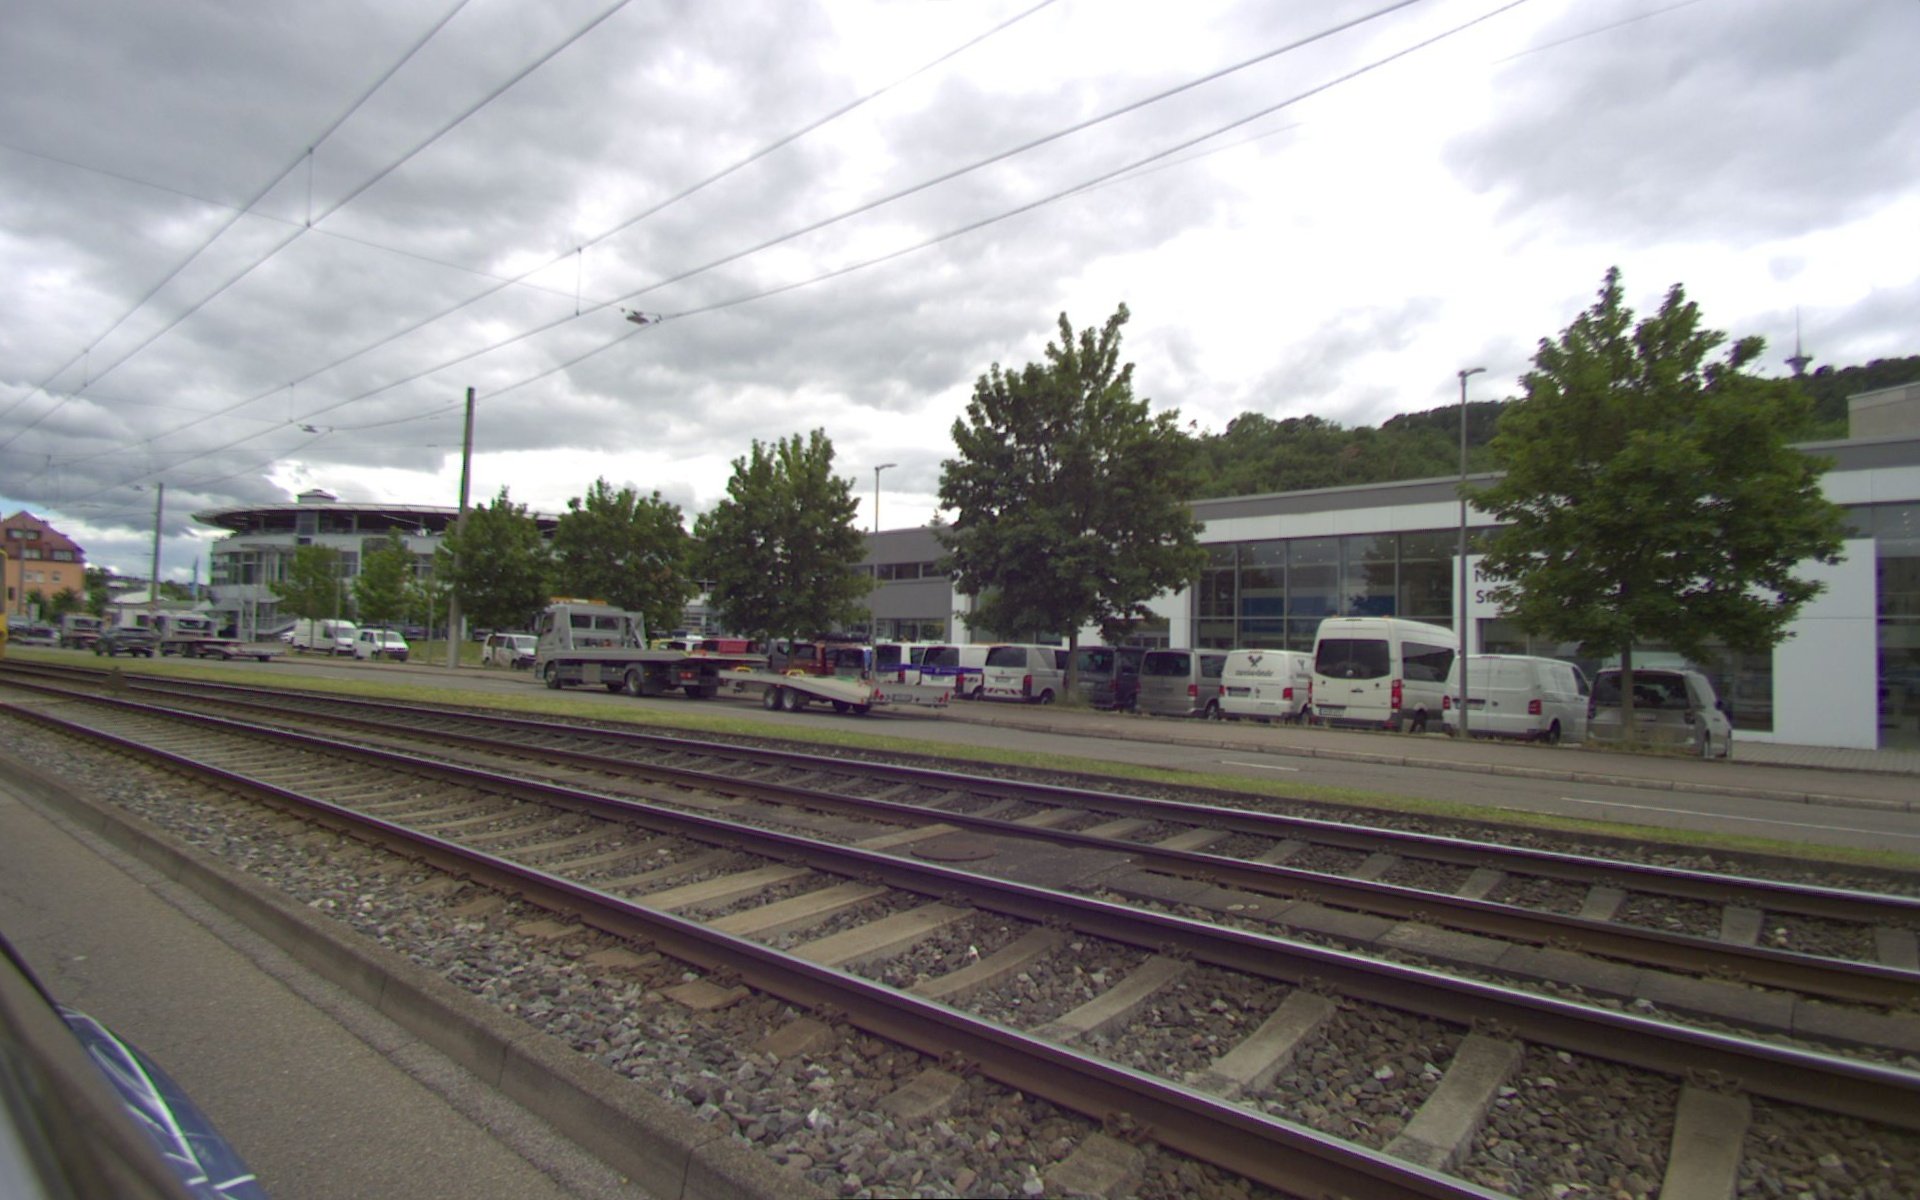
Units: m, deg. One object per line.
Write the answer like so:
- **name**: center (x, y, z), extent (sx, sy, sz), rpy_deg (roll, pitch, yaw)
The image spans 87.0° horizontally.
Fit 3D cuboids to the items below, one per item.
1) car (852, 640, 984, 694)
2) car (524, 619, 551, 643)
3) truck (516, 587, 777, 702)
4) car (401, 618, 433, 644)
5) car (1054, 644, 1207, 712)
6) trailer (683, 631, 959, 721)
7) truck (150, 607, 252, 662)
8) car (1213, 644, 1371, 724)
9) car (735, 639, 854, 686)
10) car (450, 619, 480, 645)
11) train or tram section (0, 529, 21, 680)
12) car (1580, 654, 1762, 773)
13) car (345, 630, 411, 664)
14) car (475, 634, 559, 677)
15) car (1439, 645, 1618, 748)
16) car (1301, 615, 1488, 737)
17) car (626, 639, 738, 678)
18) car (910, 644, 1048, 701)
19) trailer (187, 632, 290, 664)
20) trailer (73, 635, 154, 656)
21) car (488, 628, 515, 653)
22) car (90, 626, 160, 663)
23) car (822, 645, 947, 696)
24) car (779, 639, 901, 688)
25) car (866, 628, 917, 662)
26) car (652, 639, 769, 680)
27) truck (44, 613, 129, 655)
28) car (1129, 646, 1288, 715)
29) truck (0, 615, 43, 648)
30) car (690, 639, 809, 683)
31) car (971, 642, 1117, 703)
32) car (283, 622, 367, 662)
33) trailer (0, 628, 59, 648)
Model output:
- **car**: center (-1.327, 2.175, 33.012), extent (3.939, 1.630, 2.002), rpy_deg (3, -4, -43)
- **car**: center (-36.678, 2.708, 87.719), extent (1.965, 2.029, 4.013), rpy_deg (2, -3, -24)
- **truck**: center (-9.108, 1.265, 28.567), extent (9.219, 2.762, 2.726), rpy_deg (-2, -6, 43)
- **car**: center (-44.110, 2.570, 82.321), extent (1.965, 2.029, 4.013), rpy_deg (2, -3, -24)
- **car**: center (4.780, 2.123, 28.090), extent (4.313, 1.699, 2.006), rpy_deg (3, -4, -43)
- **trailer**: center (-3.354, 1.643, 22.965), extent (6.949, 1.711, 2.356), rpy_deg (-1, -6, 44)
- **truck**: center (-45.288, 2.087, 60.262), extent (8.447, 3.004, 2.834), rpy_deg (-2, -6, 40)
- **car**: center (8.041, 1.947, 24.269), extent (2.031, 1.701, 4.318), rpy_deg (-2, -4, 42)
- **car**: center (-6.197, 2.353, 38.215), extent (3.939, 1.677, 2.050), rpy_deg (3, -4, -43)
- **car**: center (-40.767, 2.651, 83.396), extent (1.965, 2.029, 4.013), rpy_deg (2, -3, -24)
- **train or tram section**: center (-32.983, 0.156, 31.670), extent (16.934, 4.038, 3.353), rpy_deg (-1, -1, 41)
- **car**: center (13.633, 2.049, 19.313), extent (4.313, 1.962, 2.006), rpy_deg (3, -4, -43)
- **car**: center (-36.610, 2.930, 63.616), extent (4.802, 2.029, 1.974), rpy_deg (-1, -3, 39)
- **car**: center (-22.629, 2.791, 51.608), extent (4.858, 2.029, 1.973), rpy_deg (-1, -3, 41)
- **car**: center (11.707, 1.895, 20.720), extent (4.313, 1.859, 2.006), rpy_deg (3, -4, -43)
- **car**: center (9.418, 1.581, 21.778), extent (4.443, 2.329, 2.127), rpy_deg (3, -4, -43)
- **car**: center (-12.299, 2.606, 44.907), extent (4.284, 1.630, 2.156), rpy_deg (3, -4, -43)
- **car**: center (0.626, 2.190, 30.980), extent (3.939, 1.630, 2.002), rpy_deg (3, -4, -43)
- **trailer**: center (-39.353, 2.599, 55.101), extent (7.219, 1.507, 2.730), rpy_deg (-2, -6, 40)
- **trailer**: center (-60.665, 3.220, 72.495), extent (6.997, 1.287, 3.019), rpy_deg (-1, -6, 38)
- **car**: center (-38.425, 3.409, 84.784), extent (1.965, 2.029, 4.013), rpy_deg (2, -3, -24)
- **car**: center (-44.258, 2.344, 53.617), extent (4.530, 1.752, 1.973), rpy_deg (0, -5, 40)
- **car**: center (-2.583, 2.428, 35.232), extent (3.939, 1.630, 2.002), rpy_deg (3, -4, -43)
- **car**: center (-4.286, 2.269, 36.397), extent (3.939, 1.630, 2.002), rpy_deg (3, -4, -43)
- **car**: center (-4.623, 2.988, 67.663), extent (1.965, 2.144, 4.876), rpy_deg (2, -3, -22)
- **car**: center (-10.447, 2.480, 42.568), extent (4.293, 1.630, 2.122), rpy_deg (3, -4, -43)
- **truck**: center (-66.922, 2.618, 77.473), extent (8.948, 2.944, 3.077), rpy_deg (-1, -6, 38)
- **car**: center (6.526, 2.042, 26.337), extent (4.313, 1.630, 2.006), rpy_deg (3, -4, -43)
- **truck**: center (-89.227, 2.970, 95.148), extent (9.056, 2.881, 3.019), rpy_deg (-1, -3, 39)
- **car**: center (-8.297, 2.409, 40.090), extent (4.128, 1.630, 2.065), rpy_deg (3, -4, -43)
- **car**: center (2.507, 2.065, 29.368), extent (2.004, 1.630, 4.318), rpy_deg (-2, -4, 42)
- **car**: center (-42.038, 2.750, 66.968), extent (5.835, 2.580, 1.981), rpy_deg (-1, -3, 28)
- **trailer**: center (-82.789, 3.337, 89.857), extent (7.560, 1.701, 2.948), rpy_deg (-1, -3, 39)
